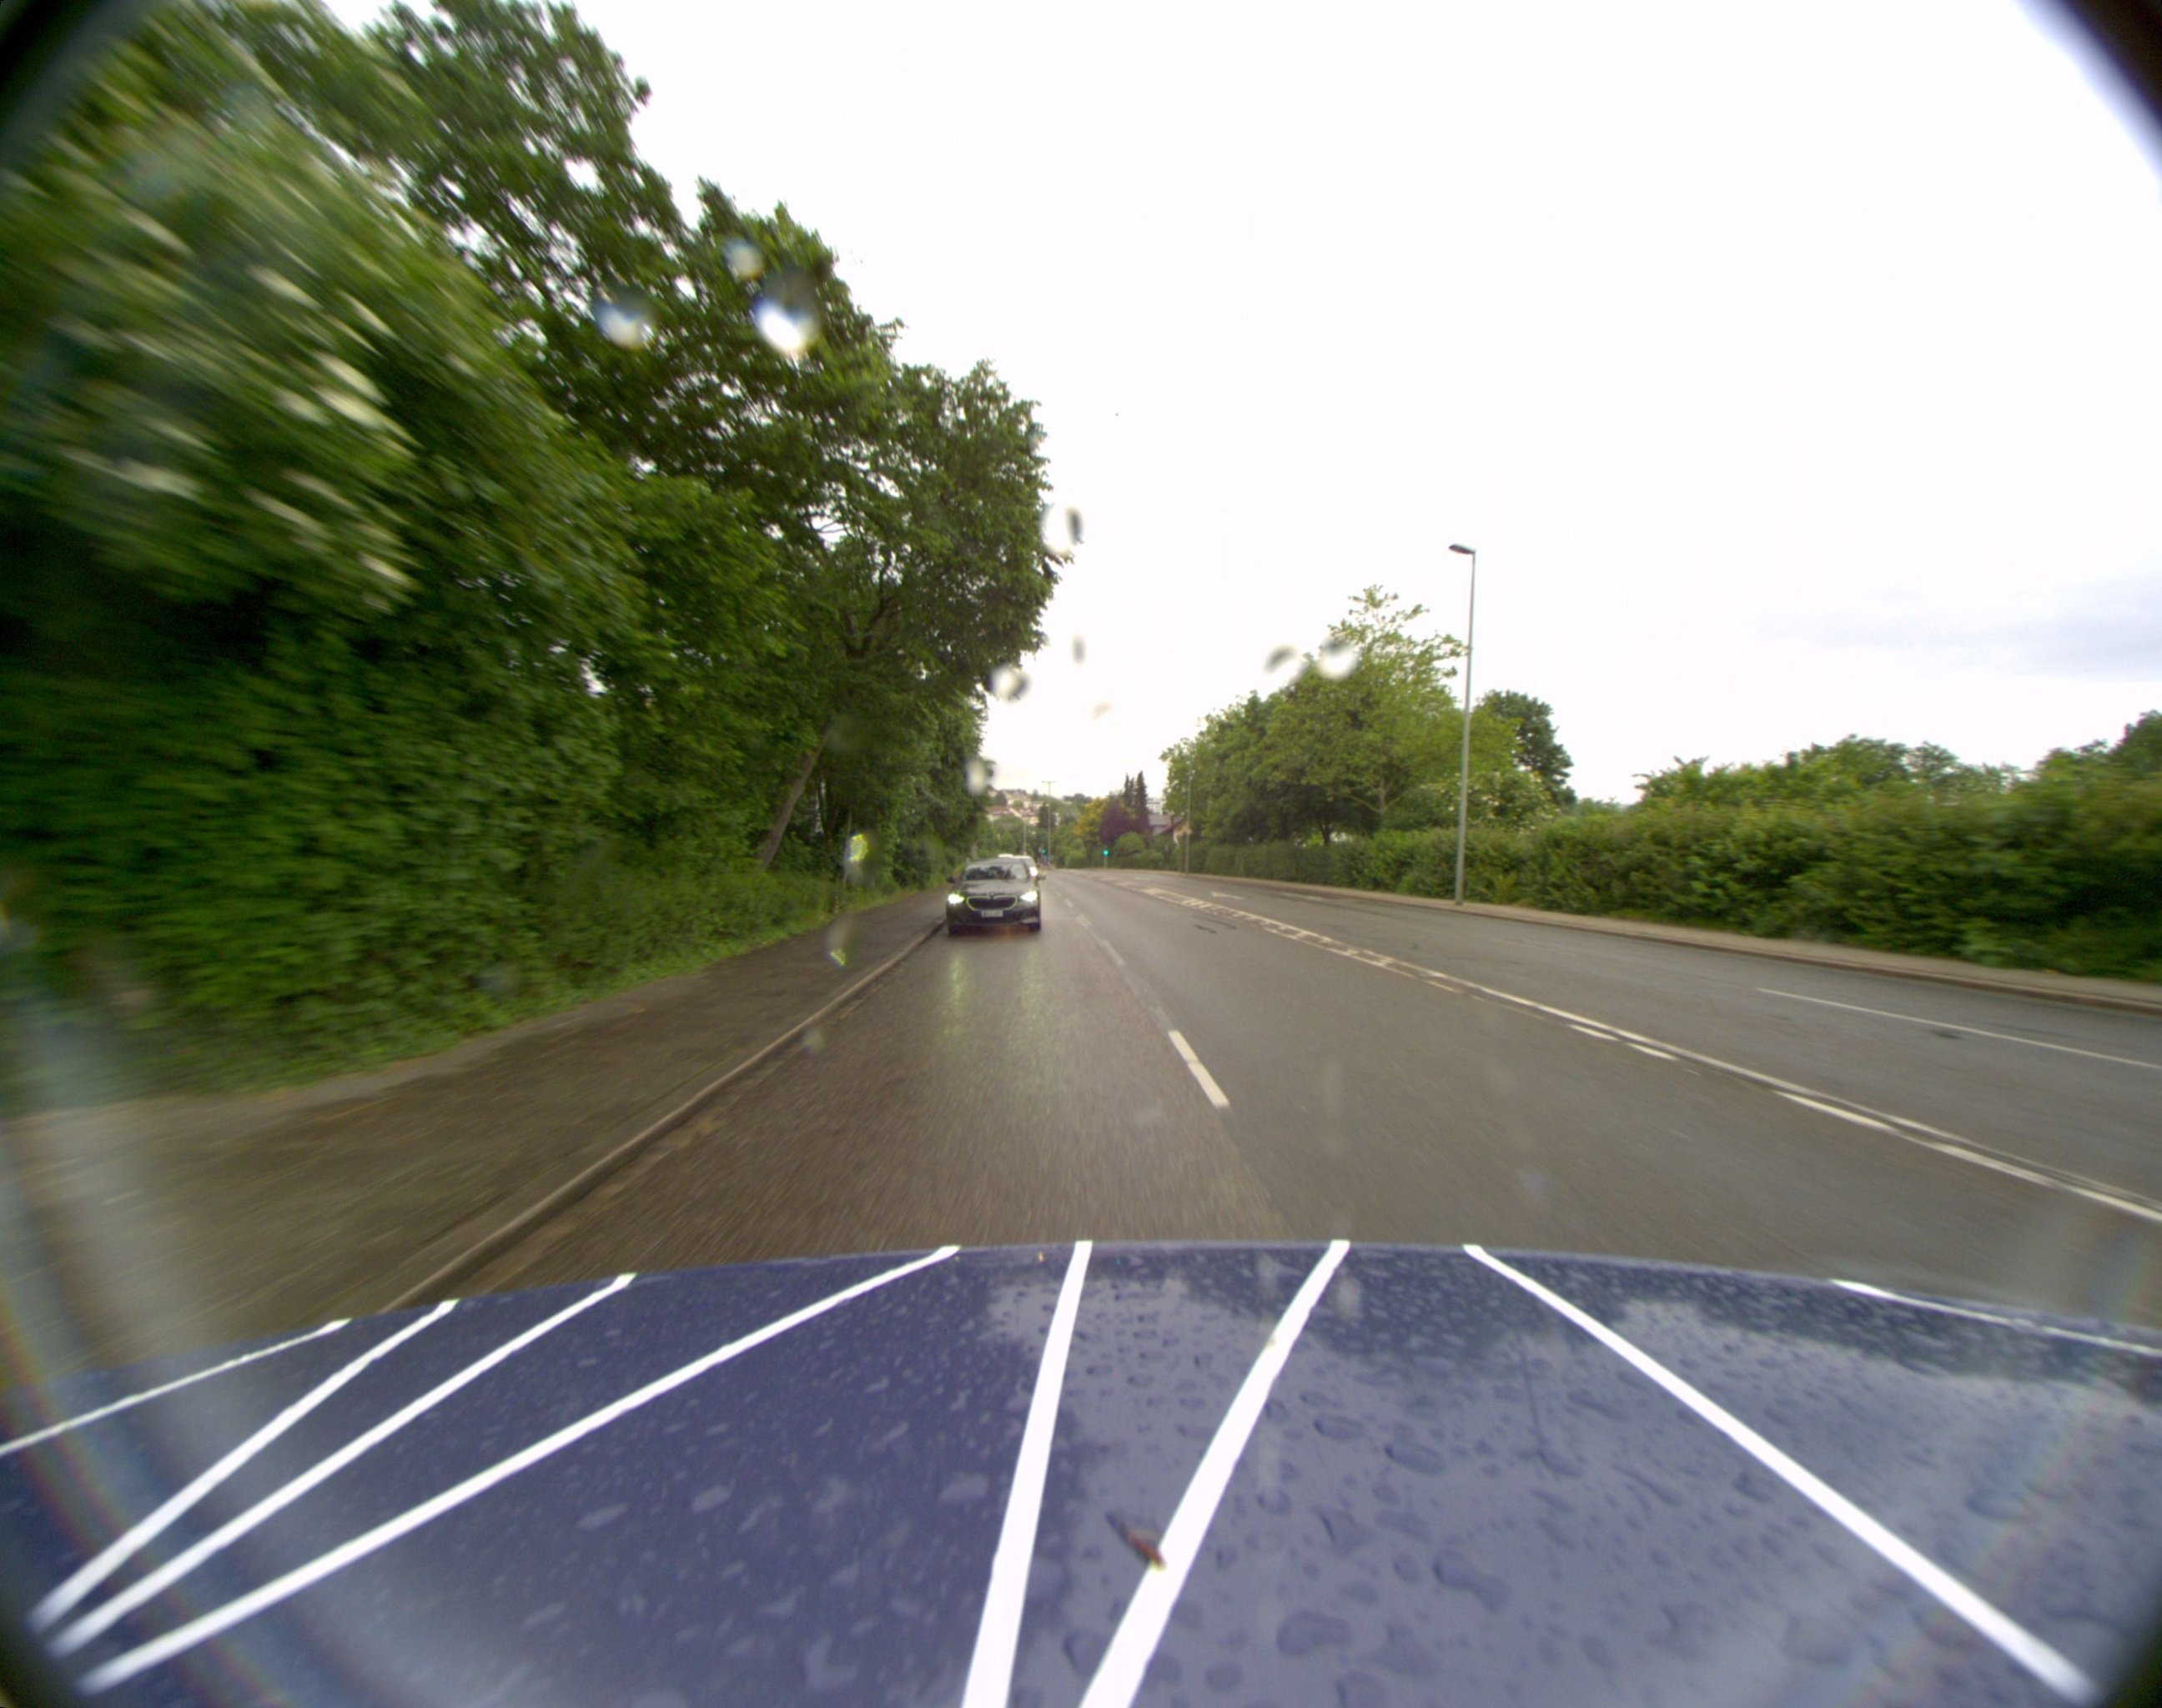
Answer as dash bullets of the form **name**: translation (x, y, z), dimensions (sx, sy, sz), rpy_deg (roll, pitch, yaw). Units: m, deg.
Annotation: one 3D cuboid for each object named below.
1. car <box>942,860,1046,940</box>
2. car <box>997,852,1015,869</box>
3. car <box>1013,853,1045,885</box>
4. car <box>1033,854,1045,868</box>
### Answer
- **car**: translation (-1.760, 0.890, 16.685), dimensions (1.845, 1.371, 4.282), rpy_deg (-2, 1, -1)
- **car**: translation (-7.540, 0.620, 76.401), dimensions (1.704, 1.670, 4.280), rpy_deg (0, 0, -7)
- **car**: translation (-2.617, 0.711, 38.848), dimensions (1.551, 1.505, 4.282), rpy_deg (1, 0, -3)
- **car**: translation (-5.877, 0.991, 105.408), dimensions (1.551, 1.812, 4.281), rpy_deg (1, 0, -5)
